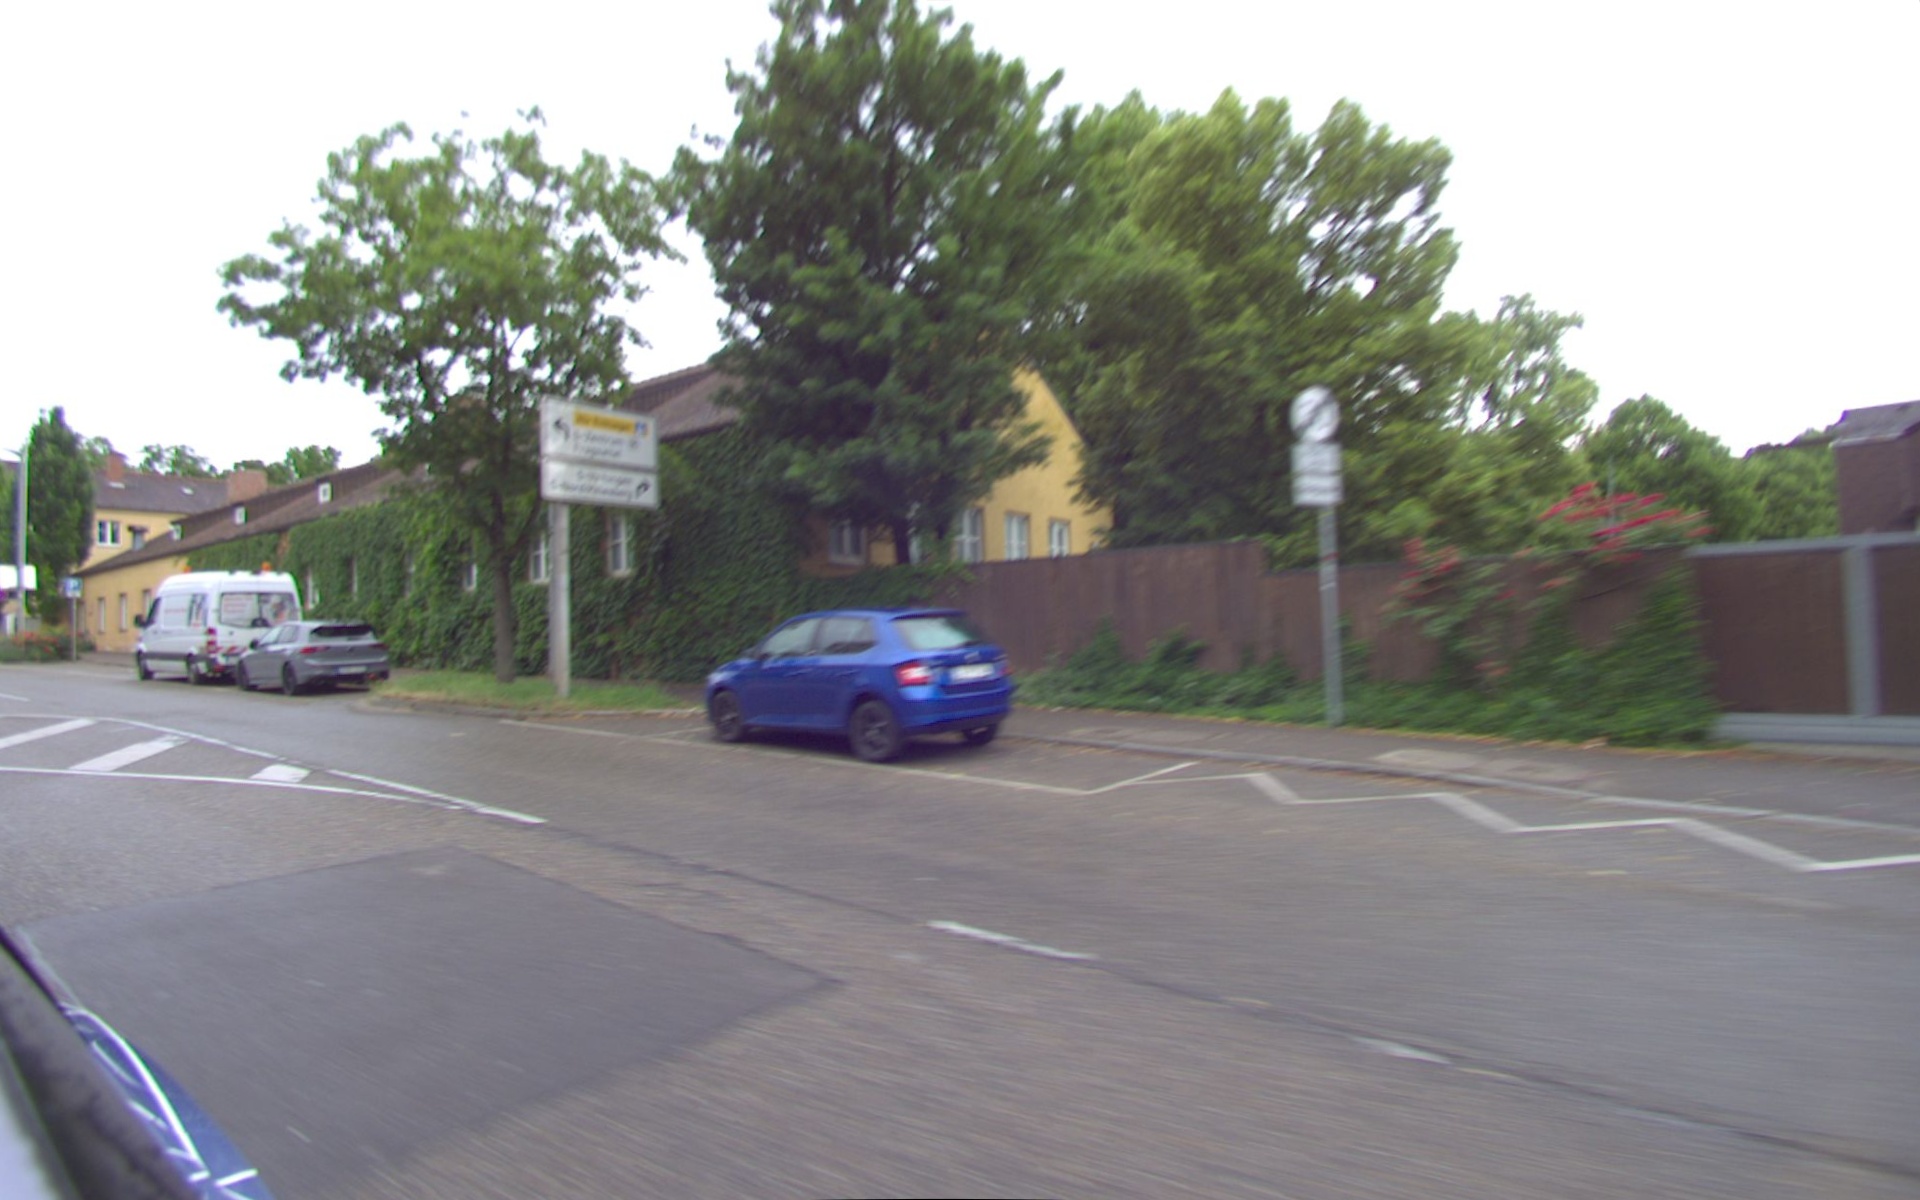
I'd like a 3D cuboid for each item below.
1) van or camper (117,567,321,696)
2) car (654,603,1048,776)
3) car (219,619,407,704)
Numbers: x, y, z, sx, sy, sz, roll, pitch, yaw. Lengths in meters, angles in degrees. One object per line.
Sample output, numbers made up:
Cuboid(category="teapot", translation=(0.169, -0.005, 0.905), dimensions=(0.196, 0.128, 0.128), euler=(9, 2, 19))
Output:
Cuboid(category="van or camper", translation=(-18.221, 0.740, 24.760), dimensions=(6.131, 2.786, 2.319), euler=(-2, 0, 37))
Cuboid(category="car", translation=(-1.314, 0.805, 10.985), dimensions=(4.185, 1.481, 1.972), euler=(-1, 0, 42))
Cuboid(category="car", translation=(-13.519, 1.196, 21.063), dimensions=(4.417, 1.524, 1.974), euler=(-1, 0, 38))
